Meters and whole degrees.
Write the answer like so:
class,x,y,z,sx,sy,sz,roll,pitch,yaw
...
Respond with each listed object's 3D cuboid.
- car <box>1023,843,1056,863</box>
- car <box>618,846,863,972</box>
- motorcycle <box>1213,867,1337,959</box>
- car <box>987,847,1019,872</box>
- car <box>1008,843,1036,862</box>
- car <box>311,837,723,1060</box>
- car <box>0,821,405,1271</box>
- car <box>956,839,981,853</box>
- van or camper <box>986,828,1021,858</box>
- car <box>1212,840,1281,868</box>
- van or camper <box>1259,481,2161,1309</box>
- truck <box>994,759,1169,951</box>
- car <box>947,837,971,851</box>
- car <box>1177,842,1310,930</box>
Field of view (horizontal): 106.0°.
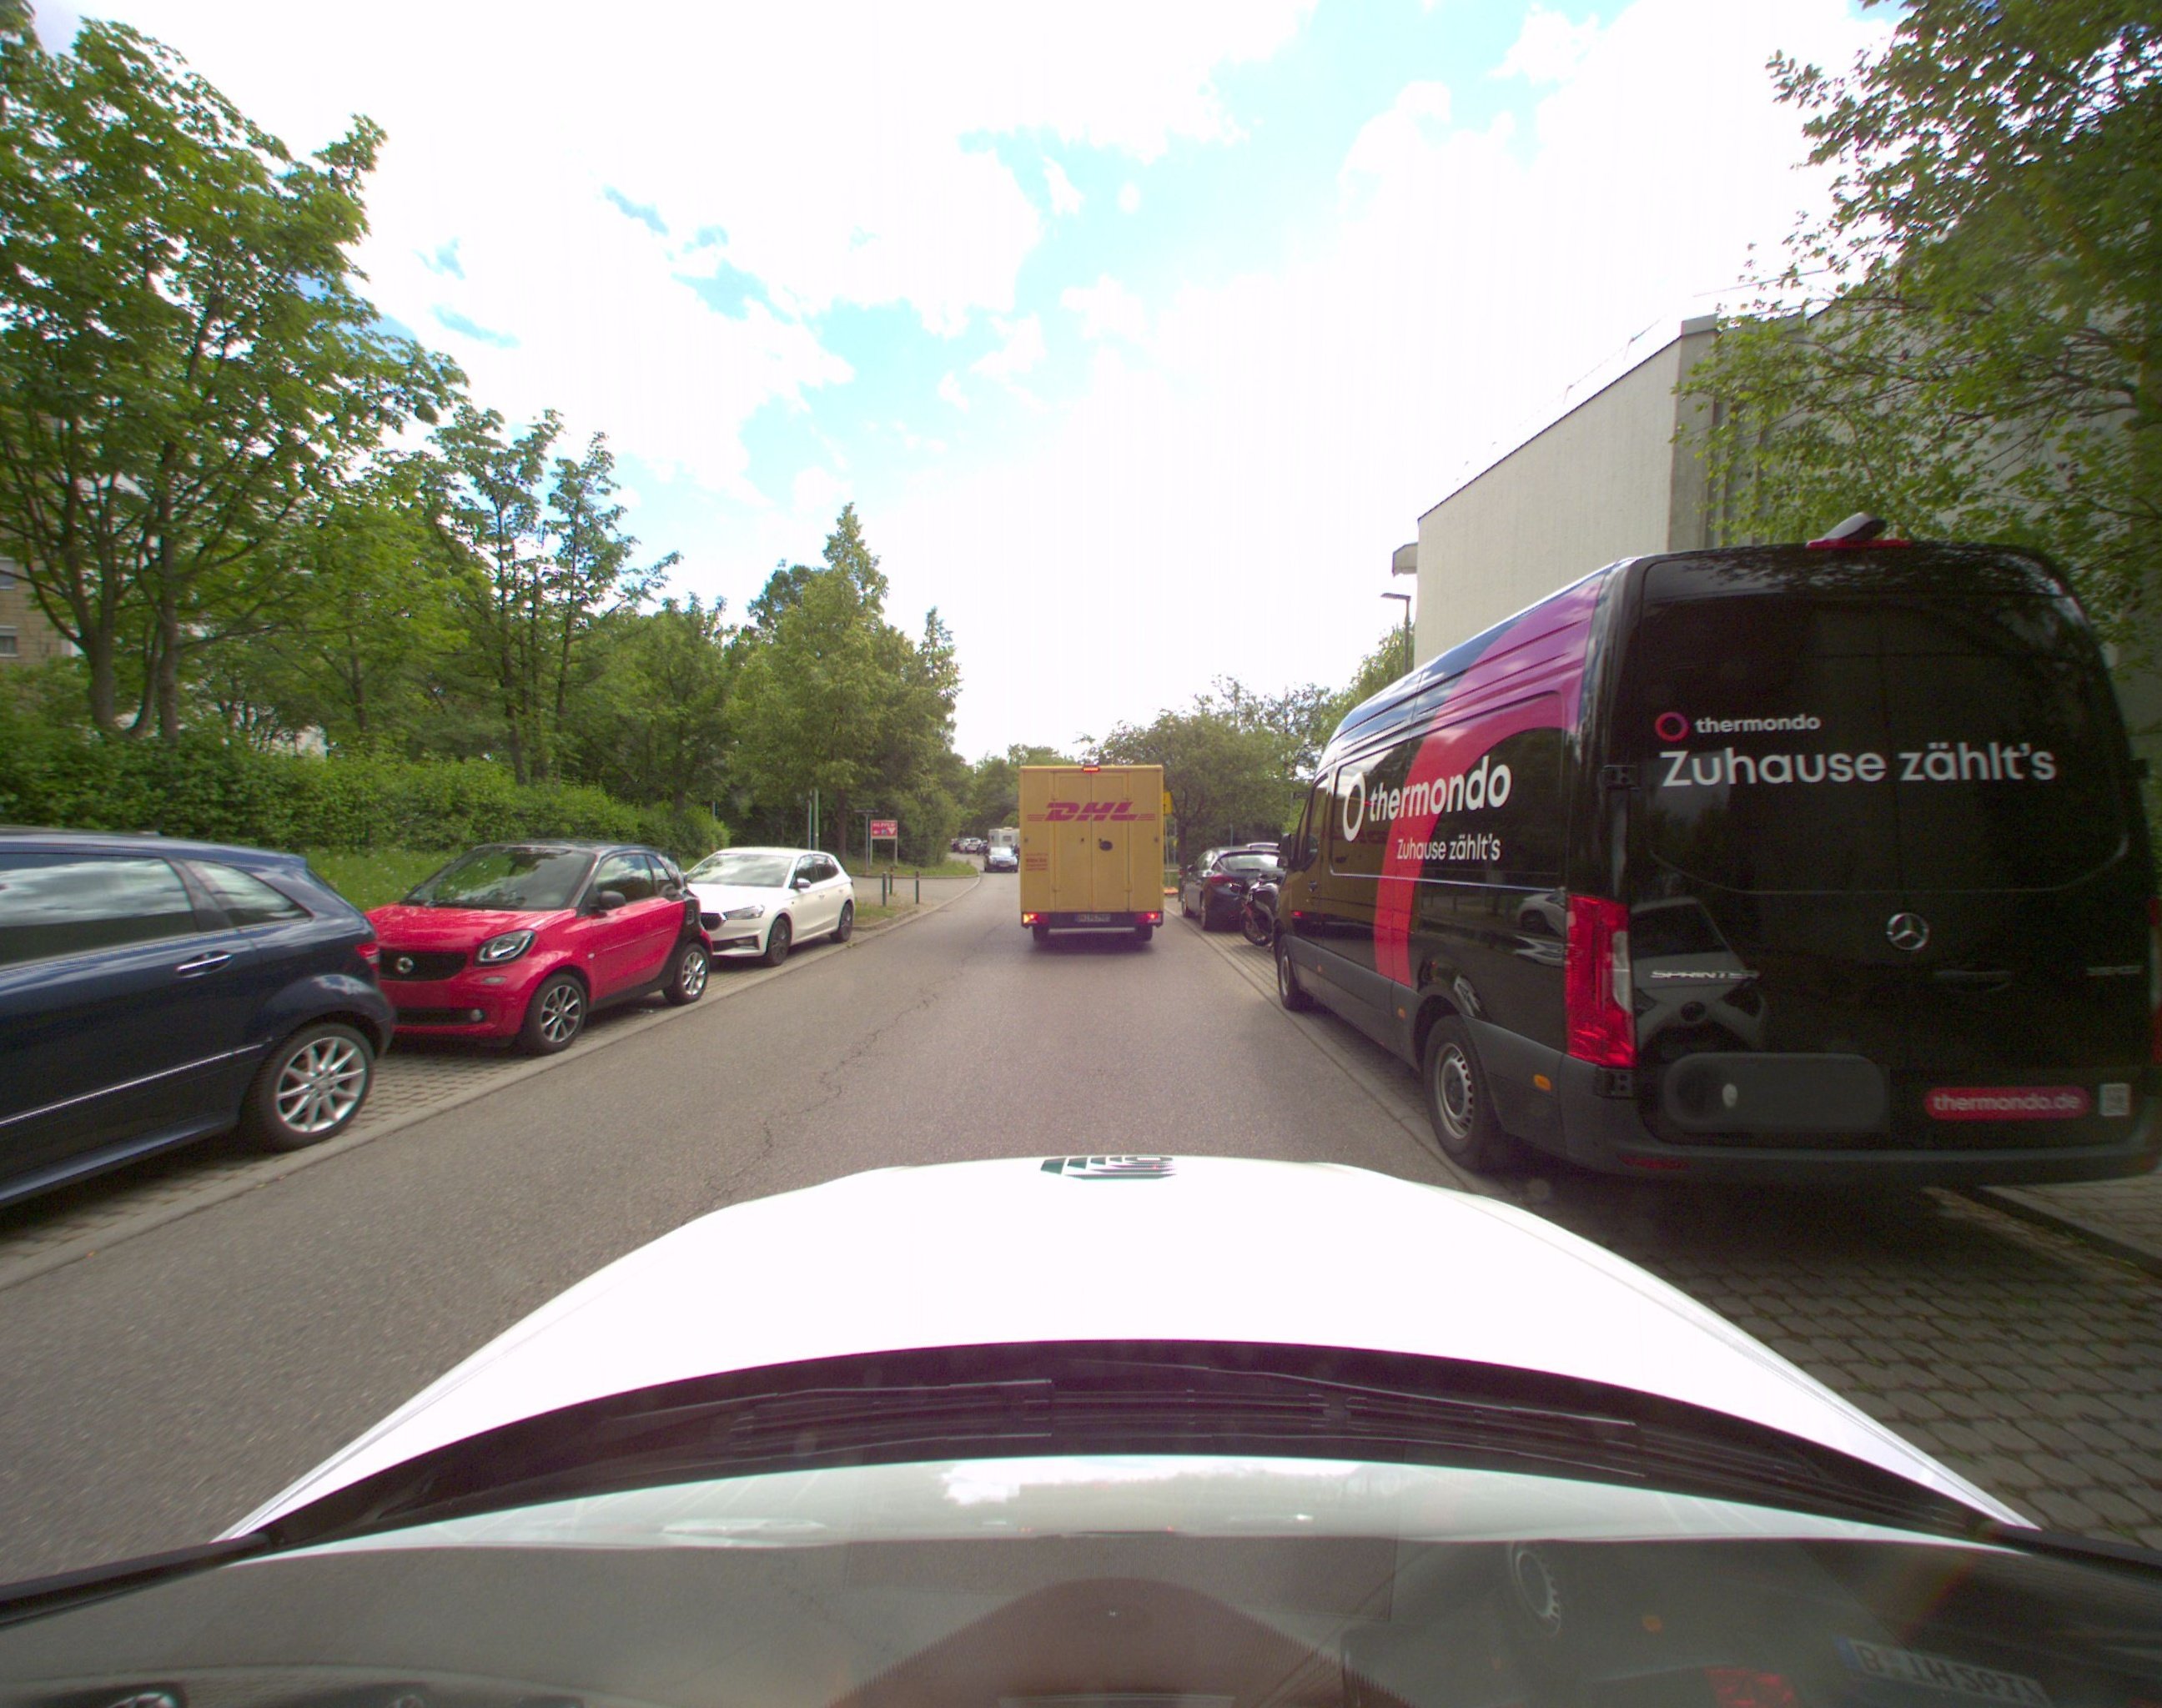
class,x,y,z,sx,sy,sz,roll,pitch,yaw
car,-3.445,-0.117,67.139,1.847,1.529,3.980,1,2,-15
car,-4.528,0.622,11.542,1.668,1.436,3.971,1,1,2
motorcycle,2.652,0.772,11.422,0.899,1.111,2.077,1,1,-11
car,-4.528,0.281,47.704,1.671,1.355,3.965,1,1,-3
car,-5.406,-0.169,74.535,1.847,1.529,3.980,1,2,-15
car,-4.504,0.634,6.988,1.522,1.506,2.715,1,1,3
car,-4.780,0.673,2.631,1.878,1.559,3.839,3,1,1
car,-12.934,-0.960,93.695,1.852,1.529,3.969,0,2,-24
van or camper,-7.819,-1.155,81.475,2.331,2.871,5.227,0,2,-19
car,9.366,-0.009,46.288,3.617,1.485,1.692,1,2,1
van or camper,2.703,0.117,5.264,1.986,2.523,5.473,-2,0,2
truck,-0.005,-0.032,15.001,2.458,2.702,6.823,-1,1,0
car,-14.922,-1.264,99.356,1.852,1.613,3.969,0,2,-24
car,2.954,0.538,15.612,1.723,1.433,3.968,1,0,0
